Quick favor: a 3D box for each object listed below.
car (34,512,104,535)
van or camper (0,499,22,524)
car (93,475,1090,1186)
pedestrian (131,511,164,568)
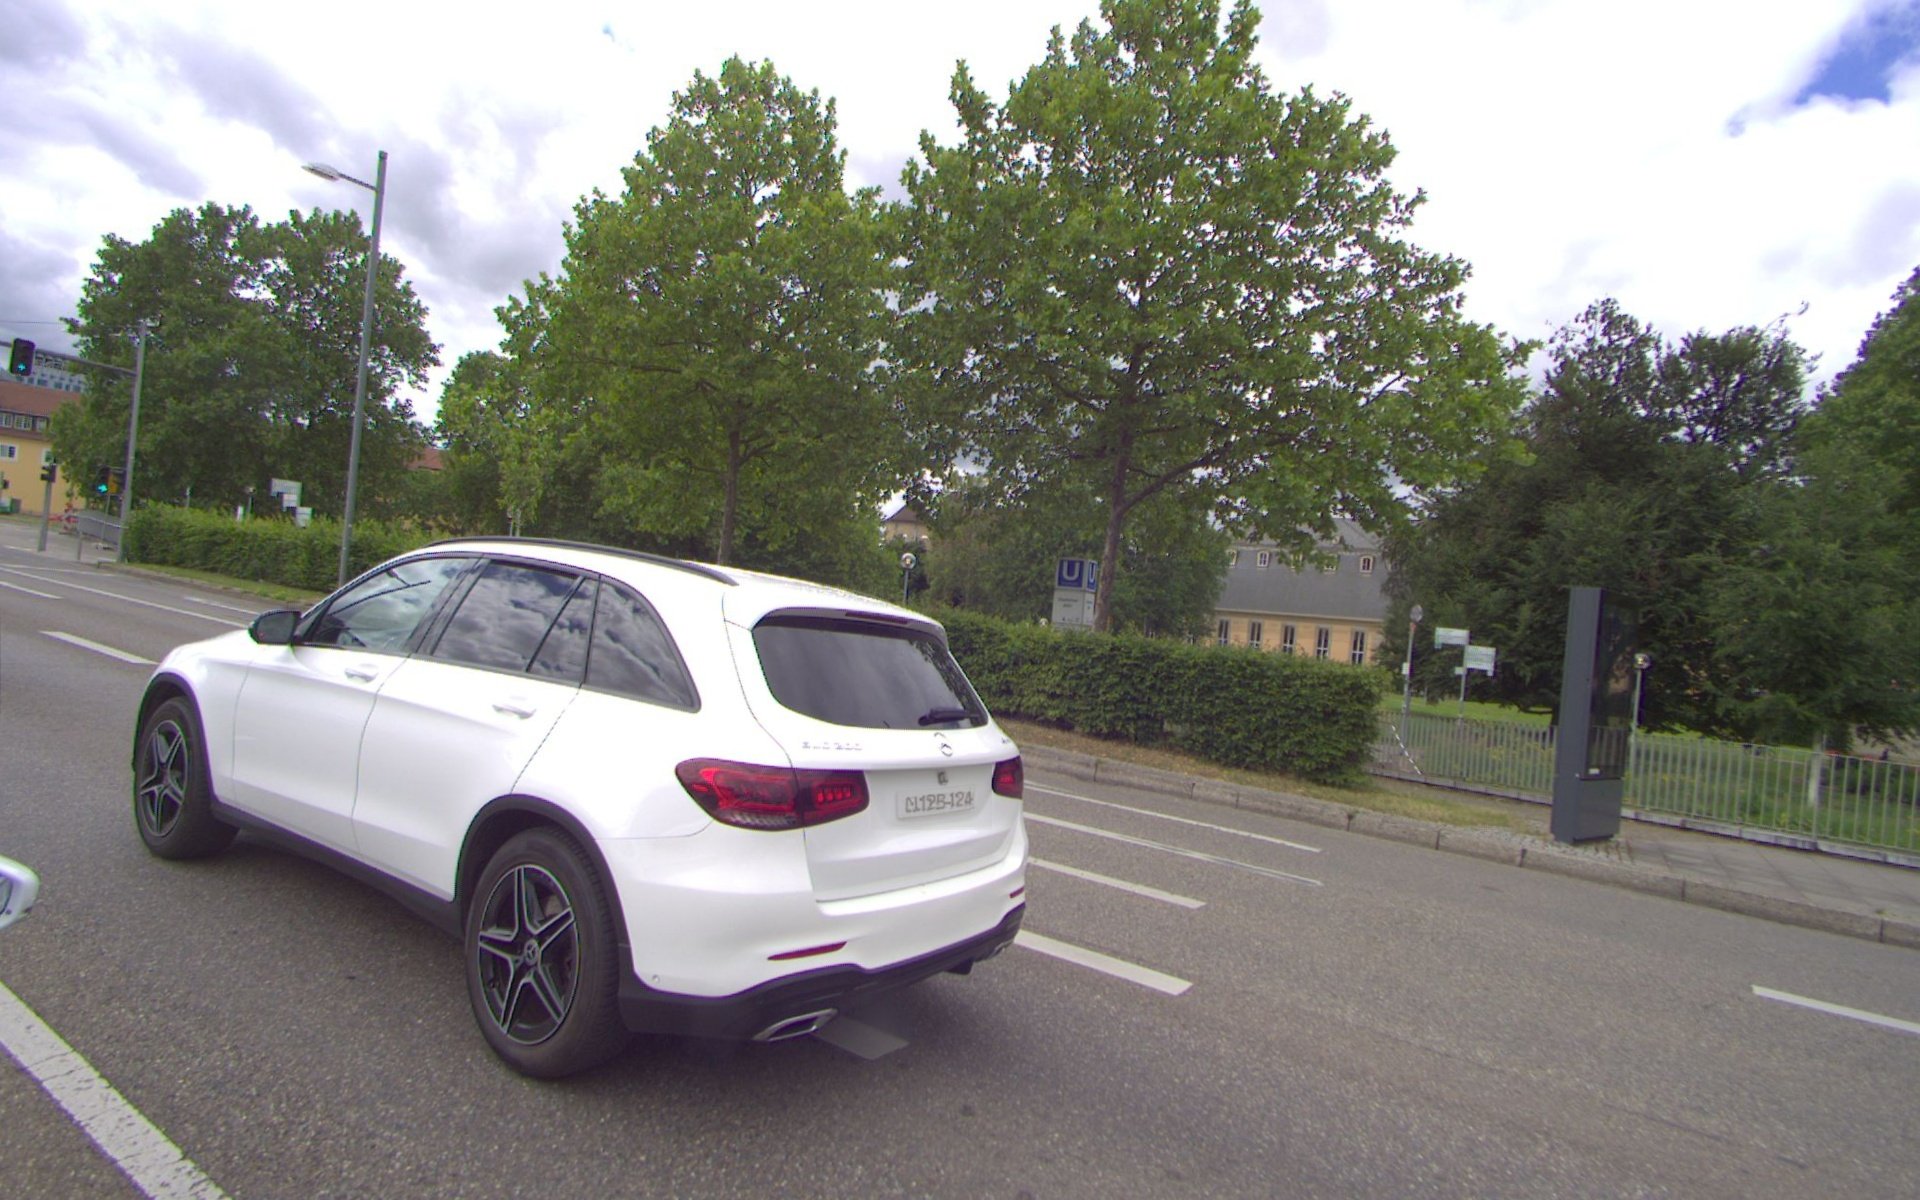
[{"bbox_3d":[-84.796,-7.264,95.785,4.637,1.437,1.587,8,-2,-26],"label":"car"},{"bbox_3d":[-91.076,-8.595,92.929,5.945,2.037,2.010,8,-2,-23],"label":"van or camper"},{"bbox_3d":[-1.851,0.520,4.478,4.308,1.666,1.821,7,-1,34],"label":"car"},{"bbox_3d":[-26.597,-1.977,32.915,0.610,1.784,0.479,7,-1,29],"label":"pedestrian"}]
